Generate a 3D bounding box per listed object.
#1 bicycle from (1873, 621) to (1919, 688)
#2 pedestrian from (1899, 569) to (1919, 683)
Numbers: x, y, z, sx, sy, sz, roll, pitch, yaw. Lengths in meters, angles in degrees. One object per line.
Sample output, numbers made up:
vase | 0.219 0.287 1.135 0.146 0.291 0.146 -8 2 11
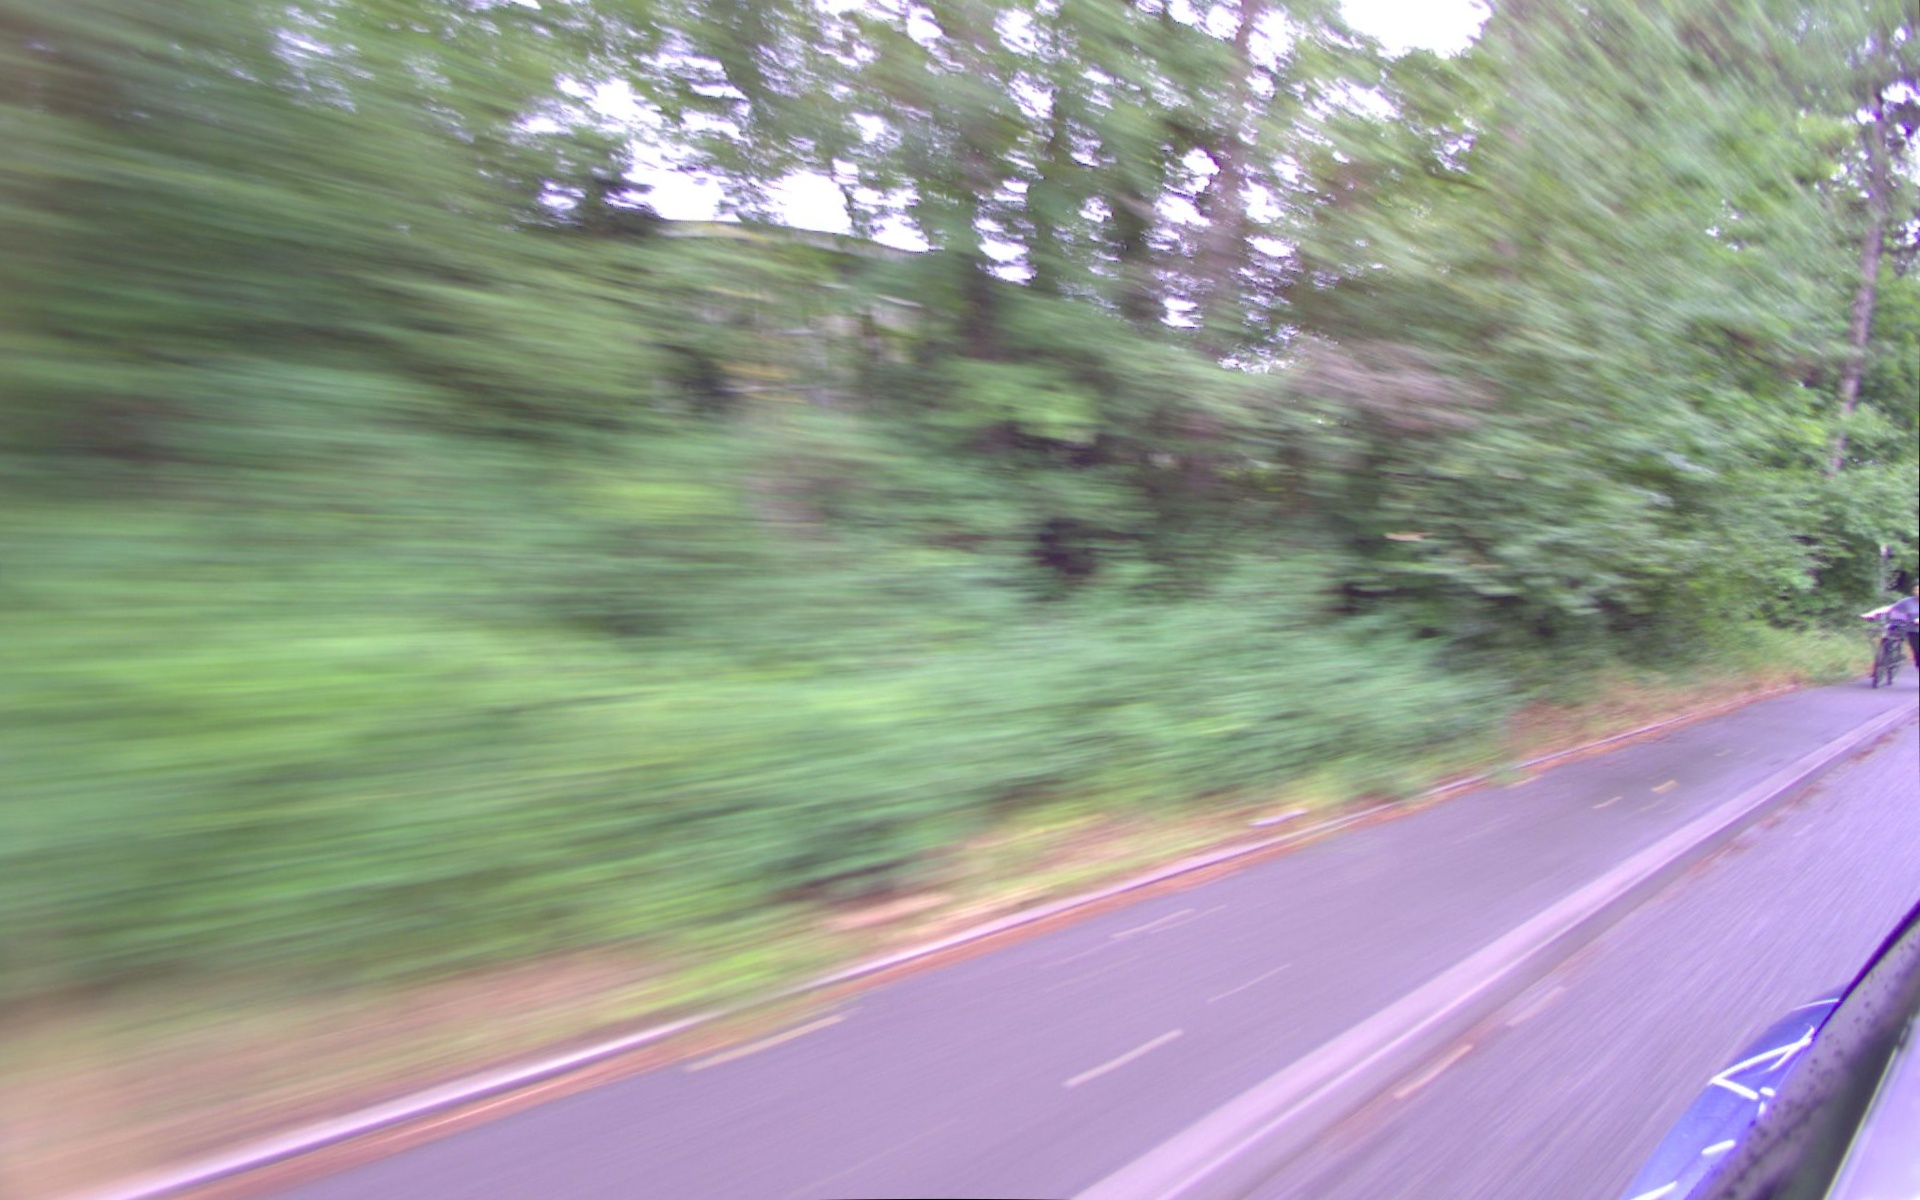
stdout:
bicycle | 13.989 0.783 14.994 1.711 0.859 0.357 -2 5 -38
pedestrian | 14.051 0.374 14.609 0.756 1.595 0.565 -4 5 -38
